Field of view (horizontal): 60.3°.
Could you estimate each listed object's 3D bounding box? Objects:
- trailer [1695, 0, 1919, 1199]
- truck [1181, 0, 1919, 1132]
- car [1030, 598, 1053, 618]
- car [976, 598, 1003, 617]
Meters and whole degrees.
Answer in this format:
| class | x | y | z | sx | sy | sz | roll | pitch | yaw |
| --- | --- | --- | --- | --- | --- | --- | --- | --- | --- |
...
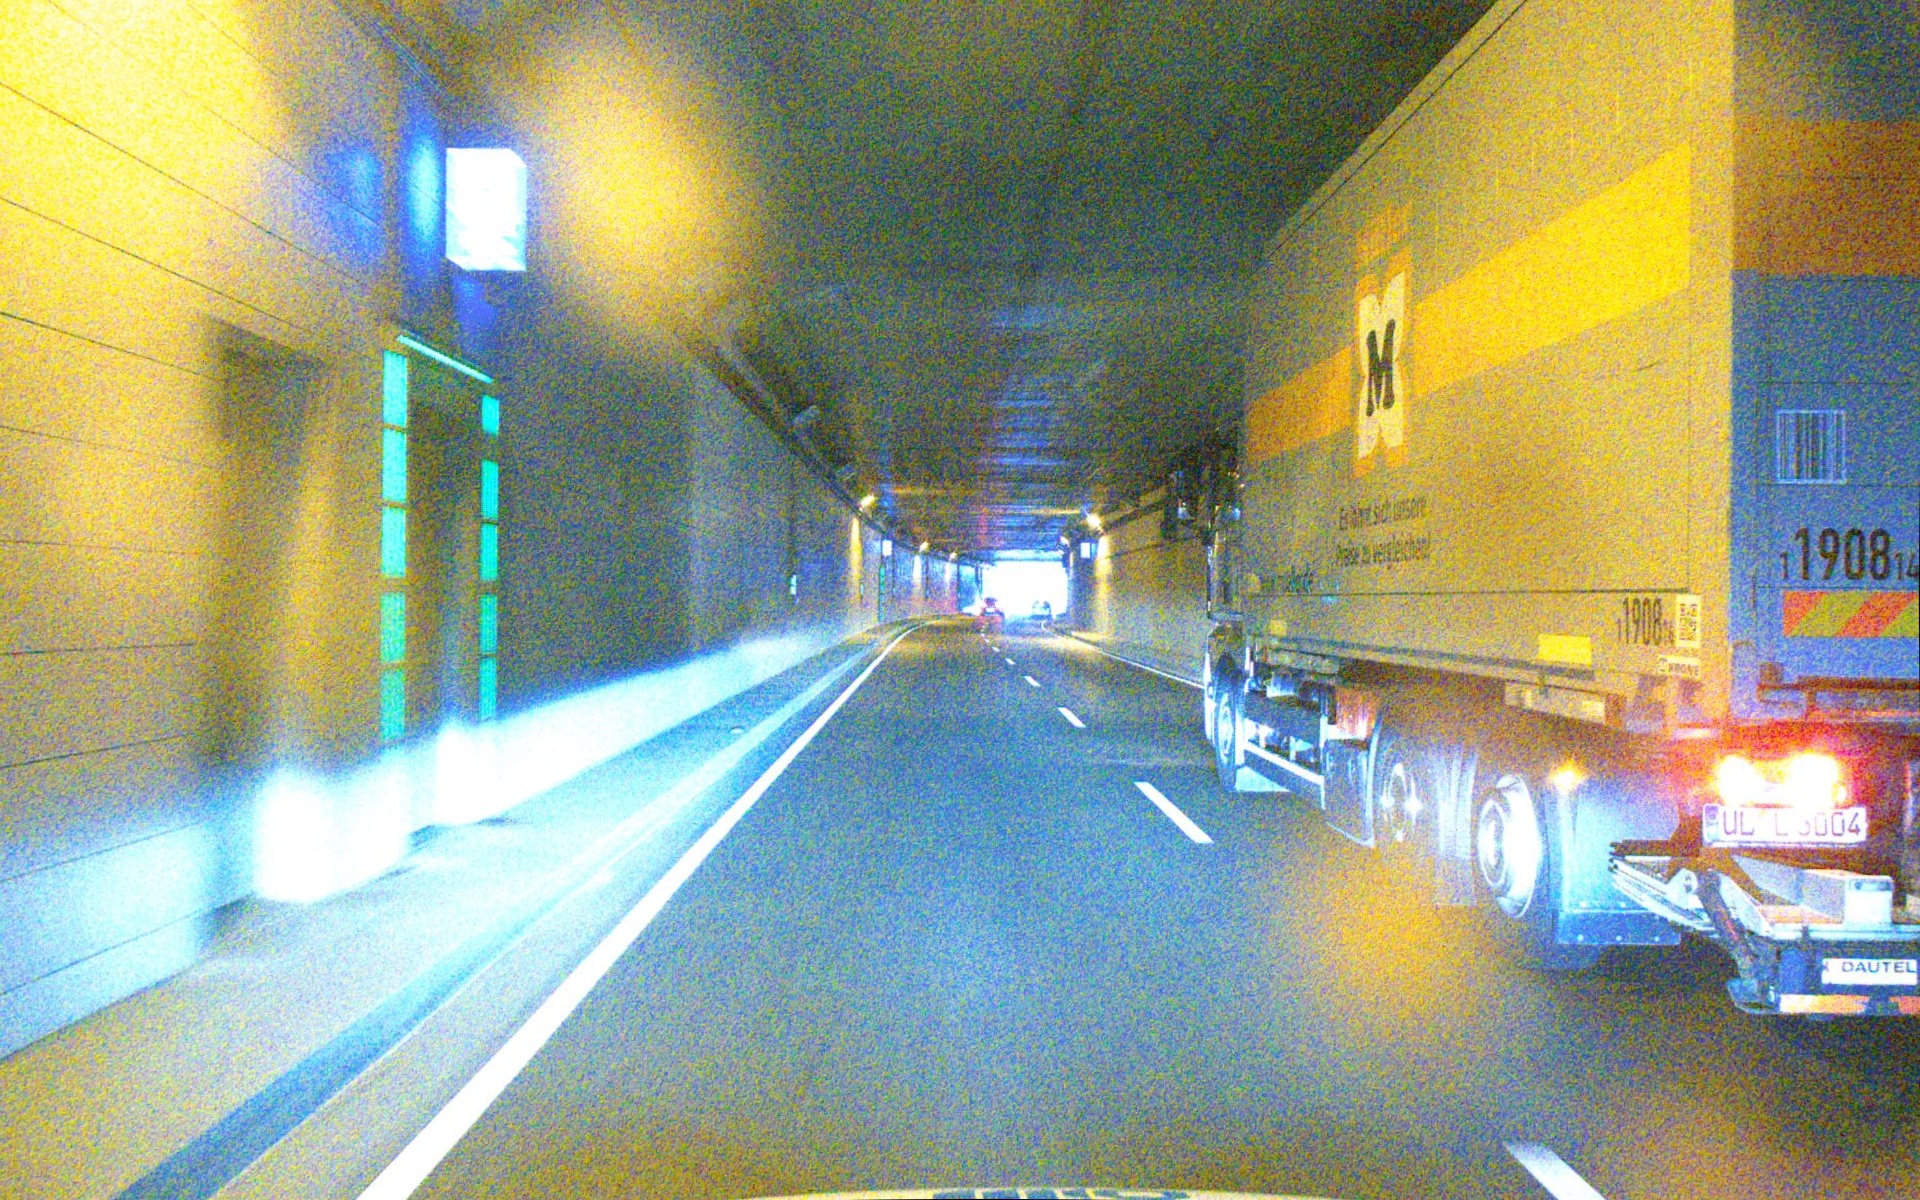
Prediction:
| class | x | y | z | sx | sy | sz | roll | pitch | yaw |
| --- | --- | --- | --- | --- | --- | --- | --- | --- | --- |
| trailer | 3.525 | -0.492 | 0.152 | 2.817 | 3.926 | 8.946 | 1 | 0 | -1 |
| truck | 3.440 | -0.512 | 9.579 | 2.830 | 3.982 | 9.907 | 1 | 0 | -1 |
| car | 7.271 | 0.717 | 147.266 | 1.830 | 1.763 | 4.003 | 1 | 0 | 6 |
| car | 2.294 | 0.592 | 127.918 | 1.802 | 1.413 | 4.002 | 1 | 0 | 6 |
